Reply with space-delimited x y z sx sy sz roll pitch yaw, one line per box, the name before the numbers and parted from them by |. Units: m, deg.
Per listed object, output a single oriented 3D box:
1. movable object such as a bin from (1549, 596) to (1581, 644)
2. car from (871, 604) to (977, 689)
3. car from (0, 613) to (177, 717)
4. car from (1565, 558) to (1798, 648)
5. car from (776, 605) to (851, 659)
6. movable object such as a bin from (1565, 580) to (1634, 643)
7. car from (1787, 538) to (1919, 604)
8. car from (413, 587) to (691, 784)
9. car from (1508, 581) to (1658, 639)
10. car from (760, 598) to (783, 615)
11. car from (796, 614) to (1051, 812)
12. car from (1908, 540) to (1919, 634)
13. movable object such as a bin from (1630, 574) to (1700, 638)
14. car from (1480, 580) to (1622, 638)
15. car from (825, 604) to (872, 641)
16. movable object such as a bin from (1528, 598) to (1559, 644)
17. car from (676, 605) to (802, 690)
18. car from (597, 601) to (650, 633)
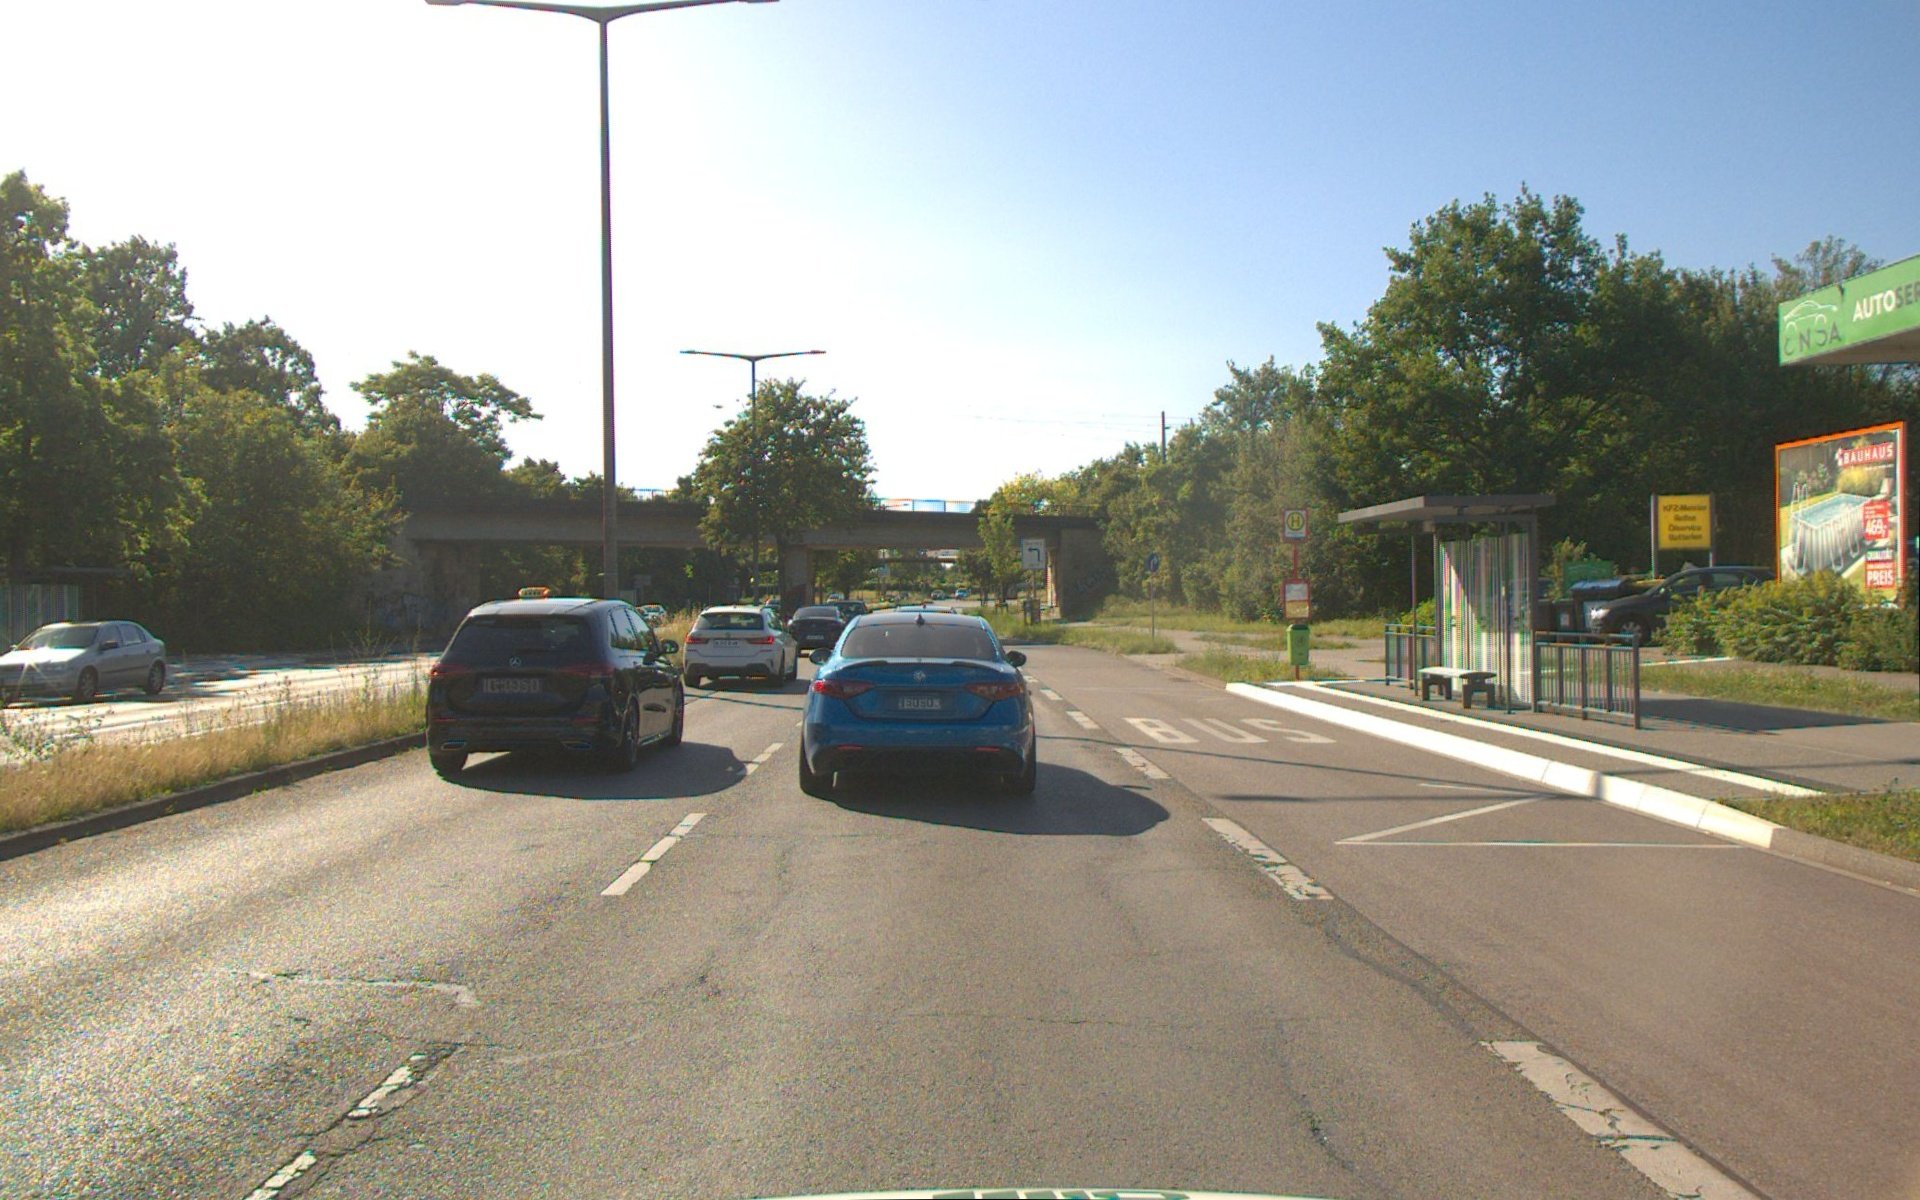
movable object such as a bin | 14.490 0.476 39.620 0.577 1.140 0.502 0 -1 -43
car | -0.677 0.840 31.296 1.845 1.479 4.525 1 -1 -1
car | -16.139 1.122 29.944 1.953 1.713 4.176 -2 -1 -1
car | 15.730 0.073 36.112 4.459 1.668 1.799 -4 -1 29
car | -4.215 0.899 48.249 1.845 1.479 4.525 1 -1 -1
movable object such as a bin | 15.037 0.273 38.891 0.981 1.453 1.240 0 0 -44
car | 24.120 -0.777 43.361 3.955 1.558 1.734 -3 -1 0
car | -3.742 0.733 15.908 1.673 1.626 4.223 1 -1 -1
car | 15.989 0.255 42.541 3.216 1.442 1.728 1 -1 0
car | -17.567 0.605 154.388 1.779 1.467 4.088 -1 0 -1
car | -0.301 0.846 14.205 1.845 1.431 4.223 1 -1 -1
car | 17.076 -0.230 26.162 1.709 1.600 4.248 -1 0 0
movable object such as a bin | 16.284 0.136 38.204 0.981 1.453 1.205 -1 0 -44
car | 15.975 0.254 44.789 3.216 1.512 1.772 1 -1 0
car | -4.631 0.934 69.403 1.743 1.479 4.180 -1 0 -1
movable object such as a bin | 14.074 0.502 39.894 0.577 1.093 0.502 0 0 -43
car | -4.091 0.850 31.273 1.845 1.479 4.525 1 -1 -1
car | -17.126 0.869 84.402 1.781 1.460 4.629 -3 0 -1
